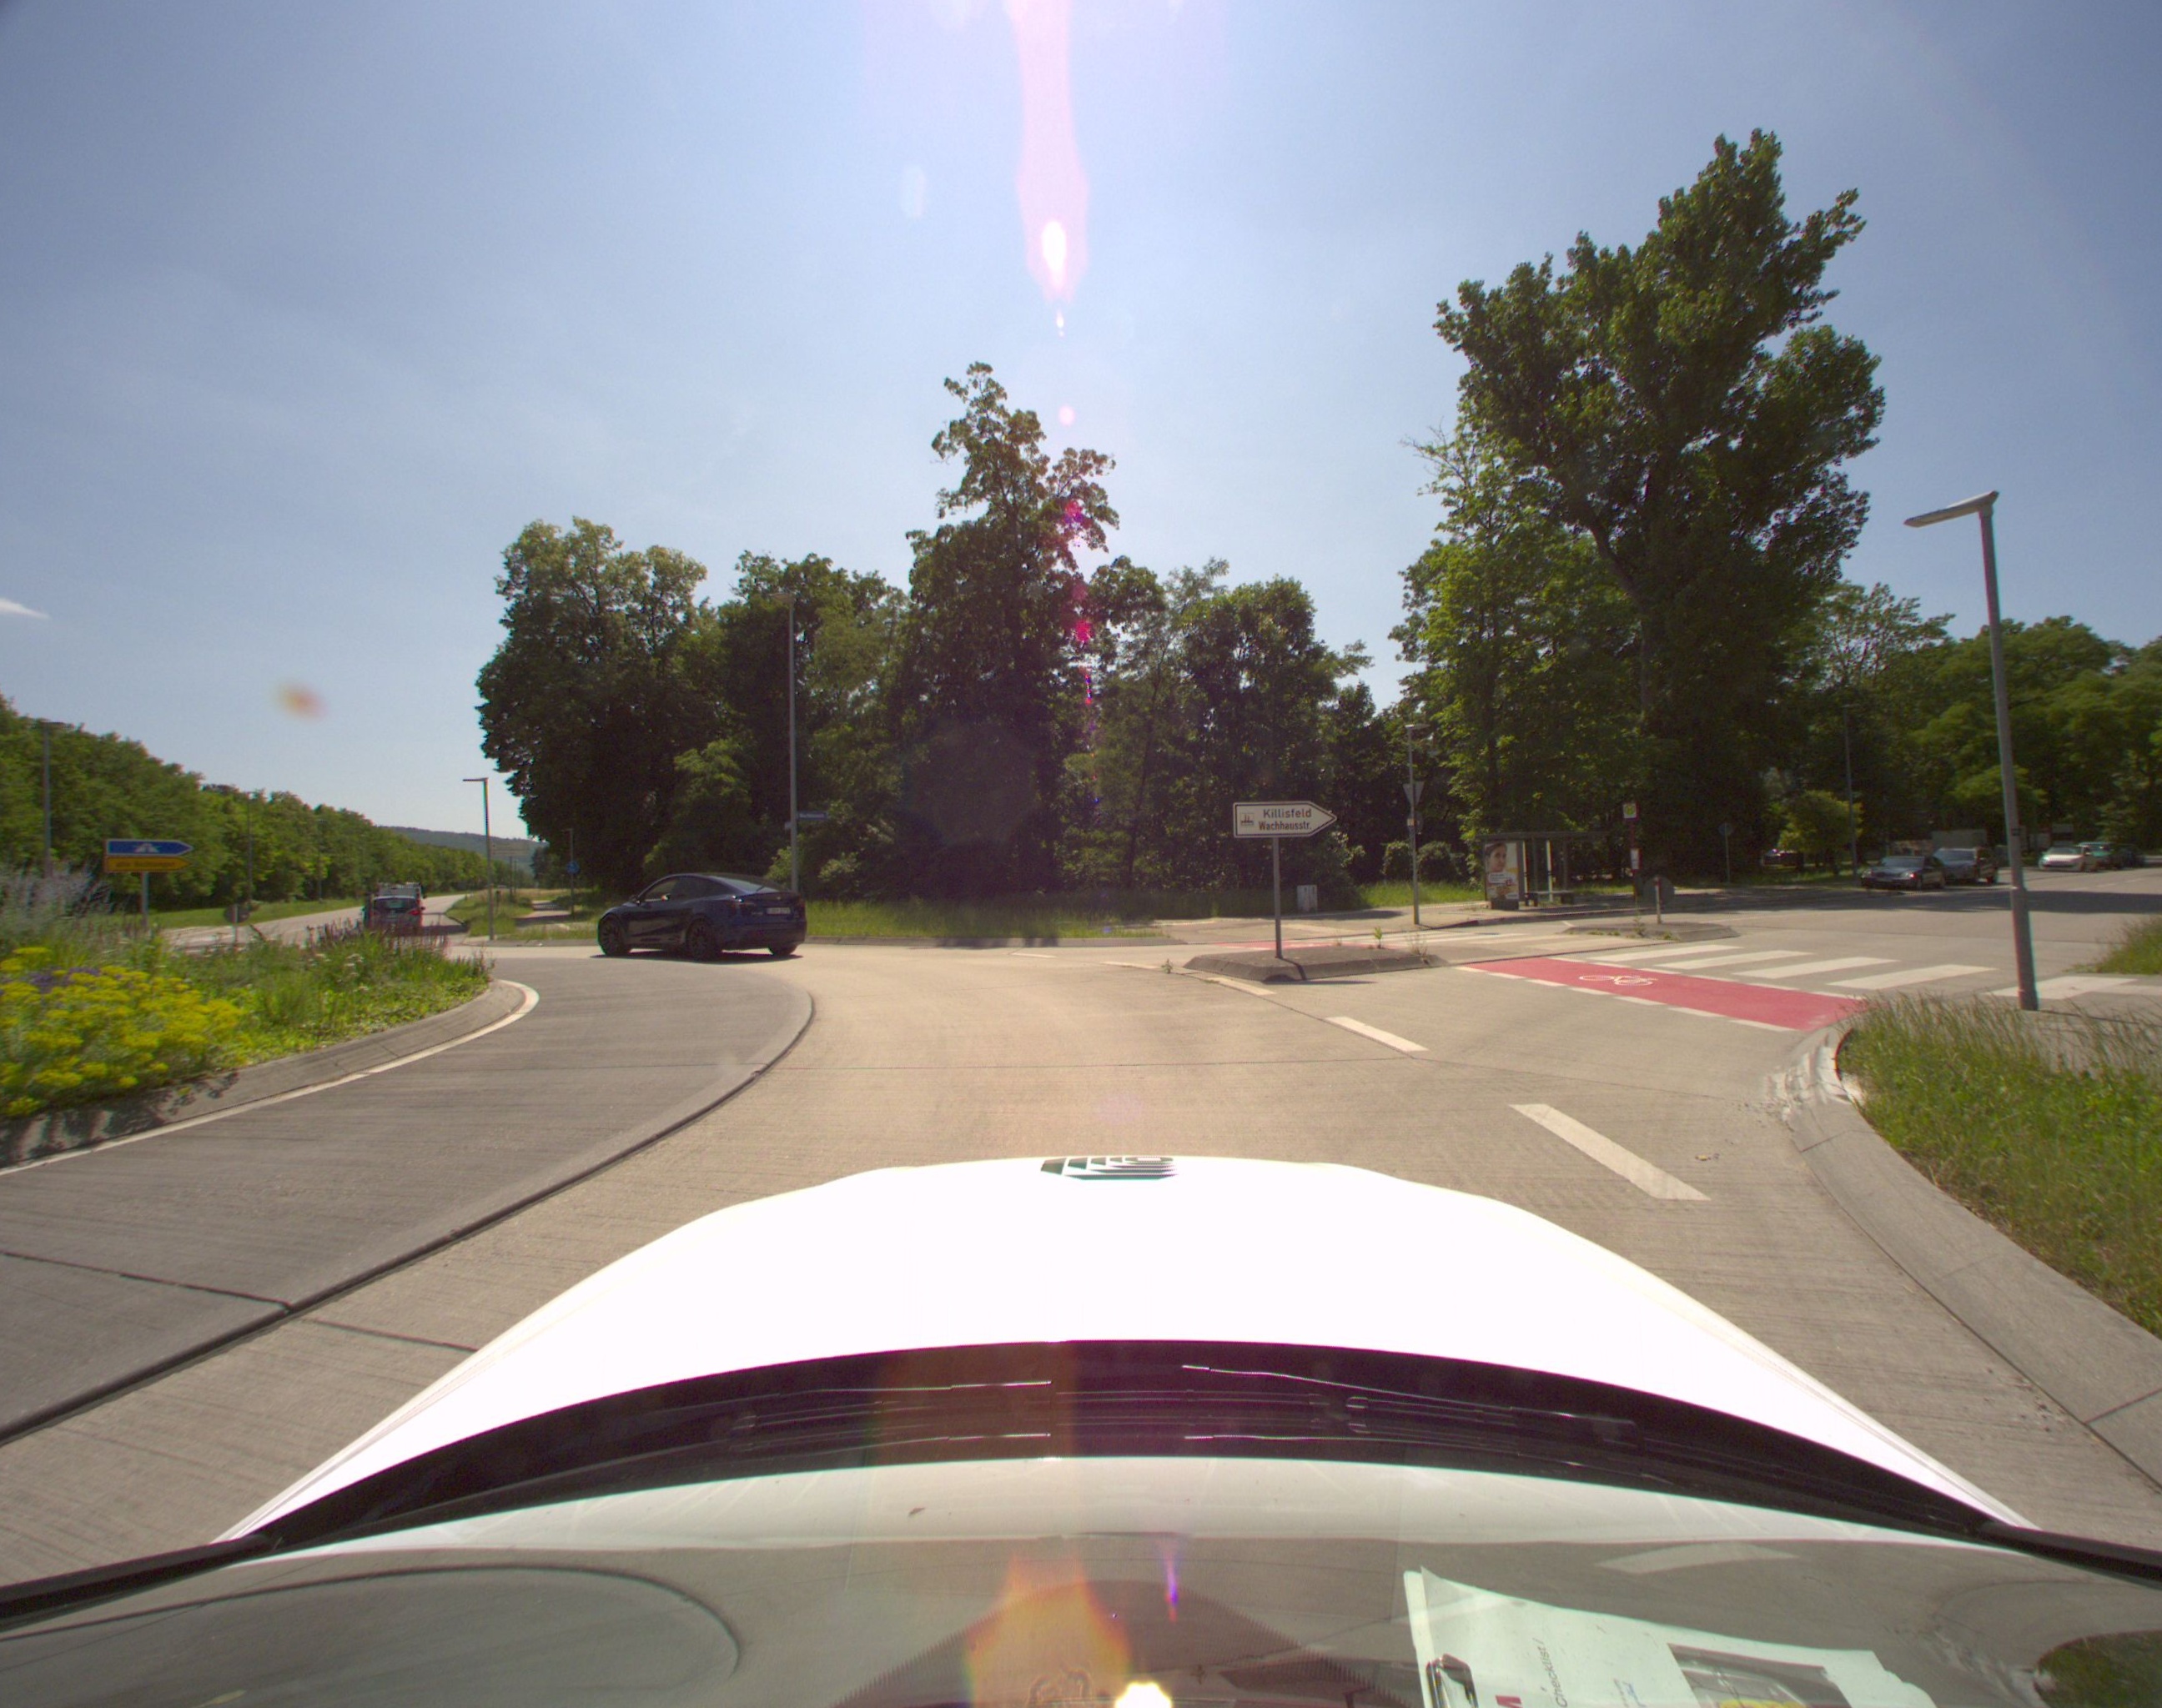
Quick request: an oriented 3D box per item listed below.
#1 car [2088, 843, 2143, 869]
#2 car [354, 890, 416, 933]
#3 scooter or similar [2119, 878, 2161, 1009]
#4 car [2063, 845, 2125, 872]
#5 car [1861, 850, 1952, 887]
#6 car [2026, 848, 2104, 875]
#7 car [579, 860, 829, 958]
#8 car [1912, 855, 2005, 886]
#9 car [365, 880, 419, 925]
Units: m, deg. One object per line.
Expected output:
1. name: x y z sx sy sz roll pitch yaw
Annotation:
1. car: 65.612 0.126 51.644 3.457 1.494 1.718 -1 -2 -32
2. car: -27.974 2.274 32.795 1.799 1.607 4.078 0 -3 -40
3. scooter or similar: 10.254 0.810 7.119 0.446 1.202 1.396 -1 -2 -6
4. car: 60.471 0.265 48.605 3.455 1.544 1.719 0 -2 -30
5. car: 34.581 0.561 34.105 4.011 1.486 1.687 0 0 -29
6. car: 56.484 0.420 46.739 4.009 1.470 1.982 0 -2 -27
7. car: -7.355 1.015 15.778 4.696 1.640 2.012 -2 -2 30
8. car: 39.948 0.754 37.058 4.011 1.310 1.981 0 -2 -29
9. car: -38.508 2.670 45.619 2.184 2.316 4.923 0 -3 -39
